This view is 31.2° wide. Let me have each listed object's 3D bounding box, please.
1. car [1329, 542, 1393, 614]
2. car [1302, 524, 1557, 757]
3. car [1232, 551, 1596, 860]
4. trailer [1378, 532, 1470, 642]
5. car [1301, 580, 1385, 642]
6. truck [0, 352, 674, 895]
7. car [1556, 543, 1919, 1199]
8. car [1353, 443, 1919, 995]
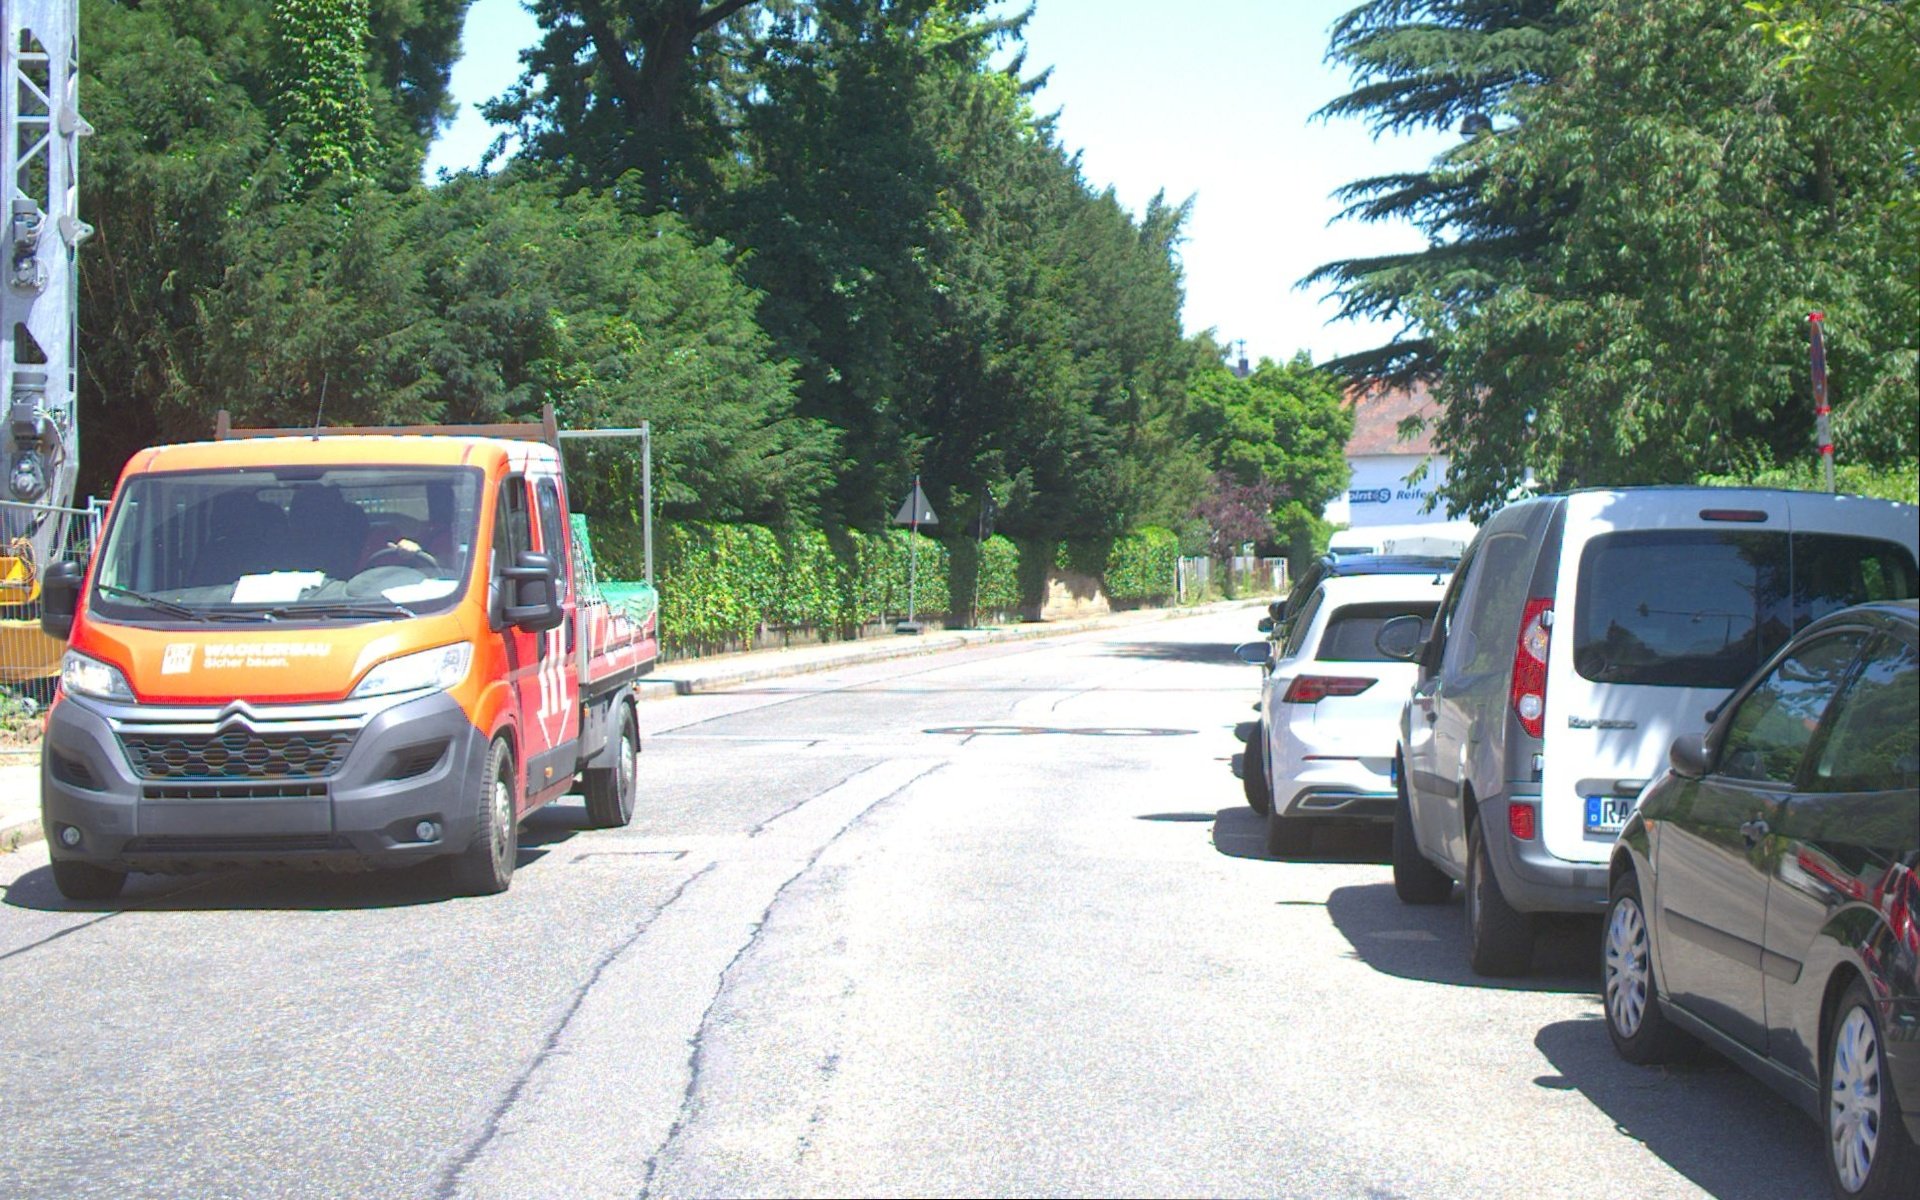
[{"bbox_3d":[14.795,-0.794,126.630,1.994,2.524,5.891,1,0,9],"label":"car"},{"bbox_3d":[3.428,0.287,25.700,1.662,1.533,4.203,2,0,5],"label":"car"},{"bbox_3d":[2.402,0.528,19.054,1.662,1.430,4.128,3,0,4],"label":"car"},{"bbox_3d":[9.240,-0.258,68.281,1.680,2.061,3.707,2,1,8],"label":"trailer"},{"bbox_3d":[10.155,0.299,90.972,1.795,1.505,3.998,3,0,11],"label":"car"},{"bbox_3d":[-2.980,0.052,18.018,2.128,2.331,6.434,0,1,3],"label":"truck"},{"bbox_3d":[2.745,0.639,8.950,1.628,1.458,4.016,2,0,0],"label":"car"},{"bbox_3d":[2.639,0.412,13.850,1.662,1.797,4.202,3,0,2],"label":"car"}]
